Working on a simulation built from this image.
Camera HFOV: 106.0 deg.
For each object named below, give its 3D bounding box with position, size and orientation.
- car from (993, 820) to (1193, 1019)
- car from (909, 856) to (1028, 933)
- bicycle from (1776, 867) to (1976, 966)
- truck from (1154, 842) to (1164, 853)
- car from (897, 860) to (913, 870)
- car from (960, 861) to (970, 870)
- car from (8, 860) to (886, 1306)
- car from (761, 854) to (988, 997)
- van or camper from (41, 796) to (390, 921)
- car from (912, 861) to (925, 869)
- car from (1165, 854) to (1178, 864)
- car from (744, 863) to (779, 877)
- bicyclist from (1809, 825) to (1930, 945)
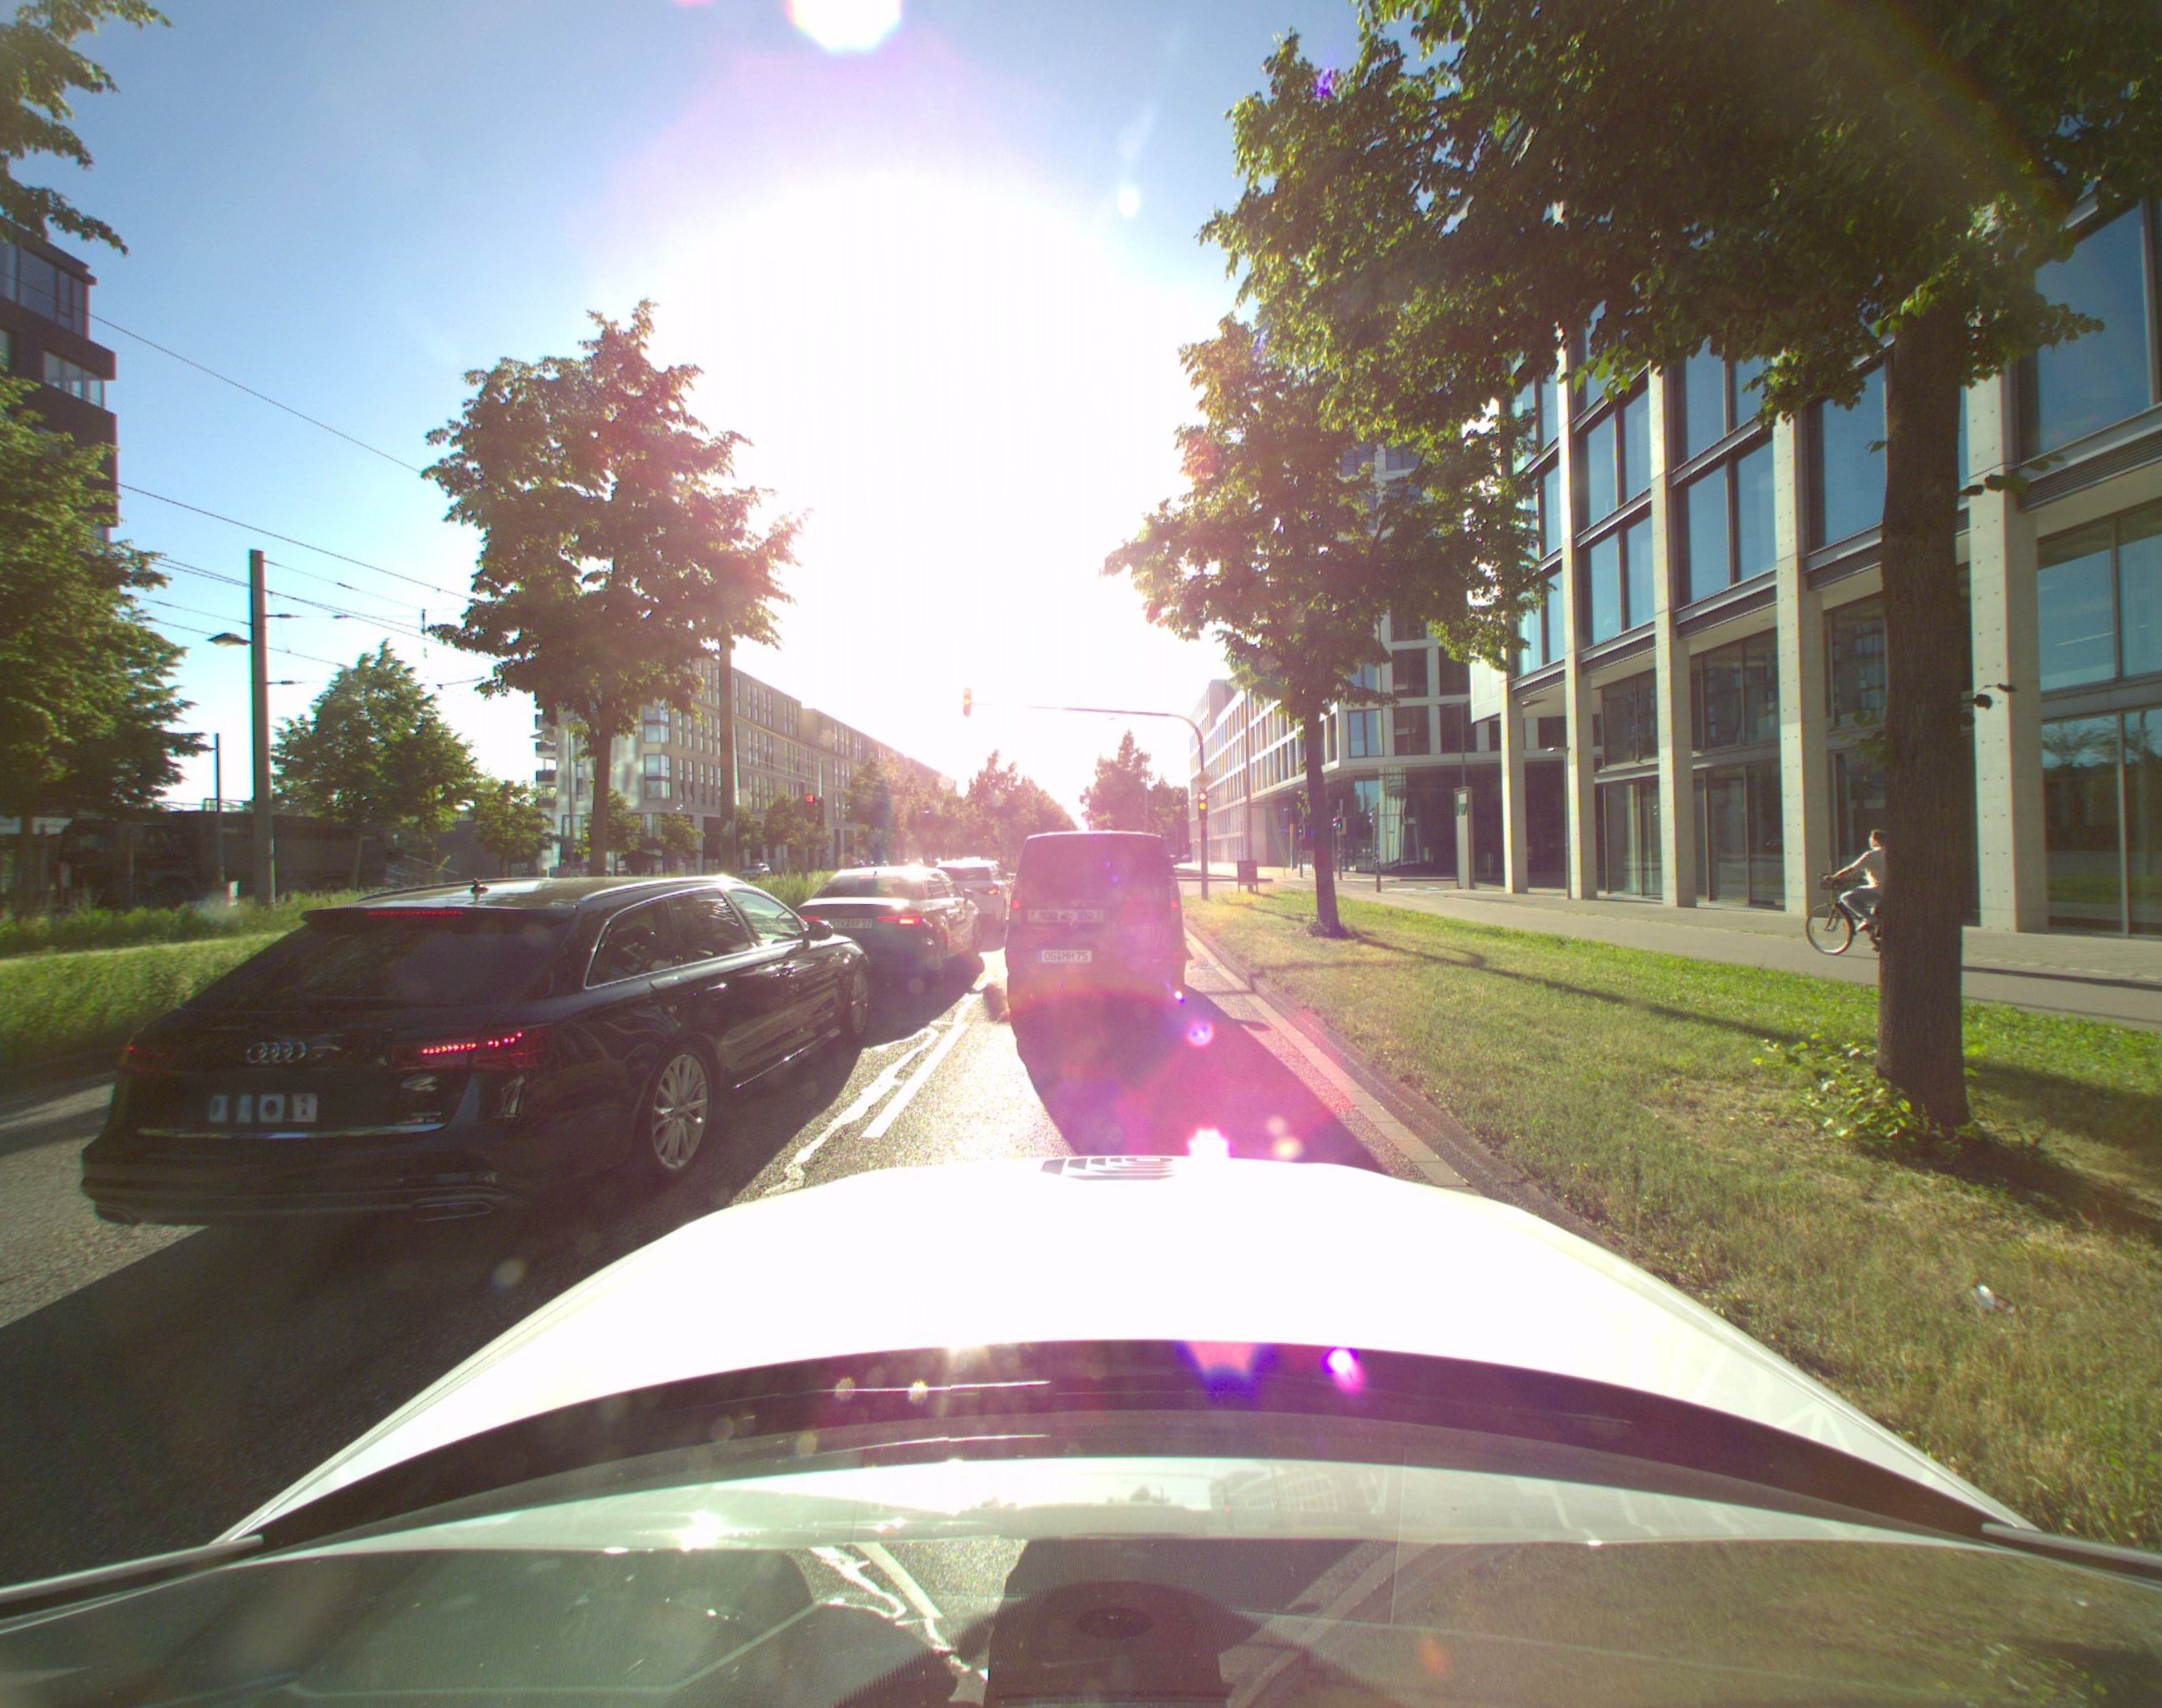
[{"bbox_3d":[0.198,0.604,9.543,1.801,1.794,4.115,-1,0,2],"label":"car"},{"bbox_3d":[-2.304,0.777,17.695,1.801,1.434,4.115,-1,0,2],"label":"car"},{"bbox_3d":[10.572,0.782,10.953,0.739,1.174,1.962,-3,-1,2],"label":"bicycle"},{"bbox_3d":[19.058,-1.649,198.738,1.825,2.501,5.934,-1,-1,1],"label":"truck"},{"bbox_3d":[-29.653,1.834,137.482,1.769,1.528,3.807,-1,0,1],"label":"car"},{"bbox_3d":[-28.496,2.776,200.191,1.723,2.013,3.999,-1,0,-1],"label":"car"},{"bbox_3d":[-2.723,0.805,5.051,1.801,1.457,4.509,-1,0,2],"label":"car"},{"bbox_3d":[-2.498,0.782,10.948,1.801,1.527,4.115,-1,0,3],"label":"car"},{"bbox_3d":[-33.569,0.174,32.600,2.743,4.192,10.234,-1,0,2],"label":"van or camper"},{"bbox_3d":[-30.049,2.053,150.556,1.574,1.342,3.713,-1,0,1],"label":"car"},{"bbox_3d":[14.208,0.798,127.744,1.750,1.611,3.906,-1,0,3],"label":"car"},{"bbox_3d":[-31.580,1.576,80.682,1.574,1.342,4.473,-1,0,1],"label":"car"},{"bbox_3d":[10.584,0.405,10.960,0.768,1.531,0.850,-2,0,1],"label":"bicyclist"}]
